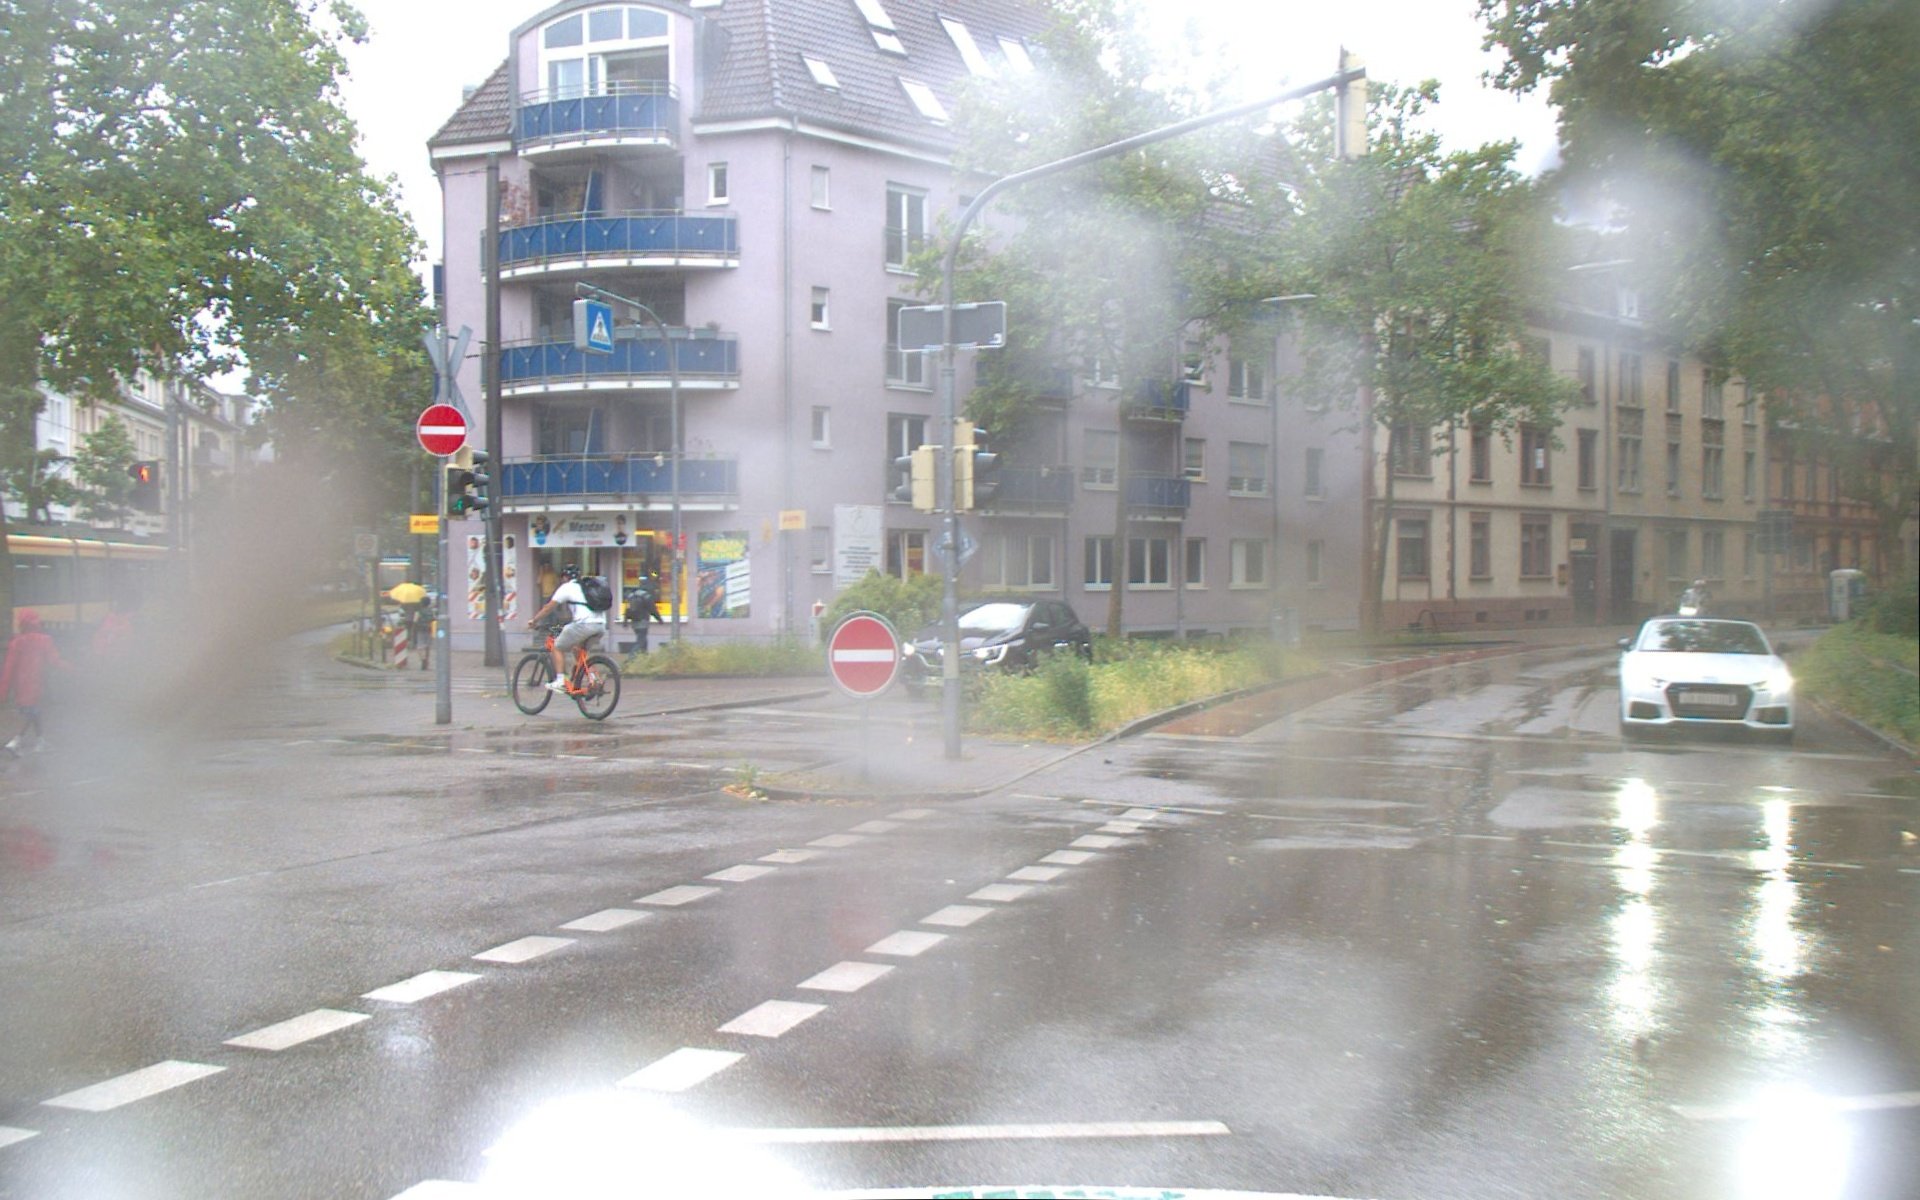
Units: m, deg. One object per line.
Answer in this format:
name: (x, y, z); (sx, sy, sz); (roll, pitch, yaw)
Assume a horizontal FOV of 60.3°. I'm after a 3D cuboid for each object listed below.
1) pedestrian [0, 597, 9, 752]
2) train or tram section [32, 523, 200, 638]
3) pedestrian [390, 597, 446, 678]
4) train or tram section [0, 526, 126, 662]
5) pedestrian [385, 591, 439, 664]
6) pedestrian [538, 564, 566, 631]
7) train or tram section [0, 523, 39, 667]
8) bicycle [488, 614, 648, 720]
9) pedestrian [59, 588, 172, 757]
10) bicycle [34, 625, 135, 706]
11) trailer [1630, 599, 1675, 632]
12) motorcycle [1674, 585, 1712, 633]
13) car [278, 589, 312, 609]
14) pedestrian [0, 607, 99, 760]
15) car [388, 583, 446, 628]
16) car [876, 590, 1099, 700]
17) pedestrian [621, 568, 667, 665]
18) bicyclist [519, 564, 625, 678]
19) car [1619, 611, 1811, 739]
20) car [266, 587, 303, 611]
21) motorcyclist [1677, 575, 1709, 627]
pedestrian: (-9.976, 0.755, 16.222); (0.861, 1.552, 1.060); (-1, 1, -16)
train or tram section: (-27.548, -0.620, 54.509); (2.592, 3.410, 9.953); (0, 0, -13)
pedestrian: (-10.807, 0.738, 33.022); (0.975, 1.586, 0.781); (-1, 1, -14)
train or tram section: (-25.514, -0.178, 45.611); (2.592, 3.410, 8.348); (0, 0, -13)
pedestrian: (-14.067, 0.694, 42.433); (1.152, 1.819, 0.884); (0, 0, -33)
pedestrian: (-9.954, -0.066, 40.340); (0.461, 1.630, 0.594); (0, 0, 12)
train or tram section: (-23.697, -0.109, 37.477); (2.591, 3.428, 8.350); (0, 0, -12)
bicycle: (-4.791, 0.788, 20.154); (1.999, 1.193, 0.750); (1, 2, 35)
pedestrian: (-8.150, 0.678, 15.994); (0.676, 1.574, 0.762); (0, 1, -1)
bicycle: (-12.660, 0.930, 23.957); (0.435, 1.095, 1.620); (0, 0, 8)
trailer: (18.585, 0.409, 44.382); (1.004, 0.856, 1.481); (0, 0, 27)
motorcycle: (19.486, 0.232, 43.957); (0.861, 1.236, 2.073); (0, 0, 26)
car: (-47.404, -0.091, 118.018); (1.962, 1.422, 3.980); (0, 0, -18)
pedestrian: (-8.971, 0.792, 16.039); (0.657, 1.405, 1.011); (0, 1, 3)
car: (-21.625, 0.198, 65.987); (1.960, 1.702, 3.985); (-1, 1, -15)
car: (0.519, 0.606, 25.082); (1.948, 1.486, 4.176); (0, 1, 23)
pedestrian: (-6.100, 0.314, 31.900); (0.627, 1.835, 0.622); (0, 1, 21)
bicyclist: (-4.706, 0.237, 20.073); (1.055, 1.332, 0.740); (0, 2, 35)
car: (8.868, 0.804, 19.723); (1.858, 1.297, 4.172); (0, 0, 22)
car: (-45.899, -0.070, 112.446); (1.962, 1.559, 3.980); (0, 0, -18)
motorcyclist: (19.469, 0.017, 43.926); (0.741, 1.375, 0.754); (0, 0, 26)
